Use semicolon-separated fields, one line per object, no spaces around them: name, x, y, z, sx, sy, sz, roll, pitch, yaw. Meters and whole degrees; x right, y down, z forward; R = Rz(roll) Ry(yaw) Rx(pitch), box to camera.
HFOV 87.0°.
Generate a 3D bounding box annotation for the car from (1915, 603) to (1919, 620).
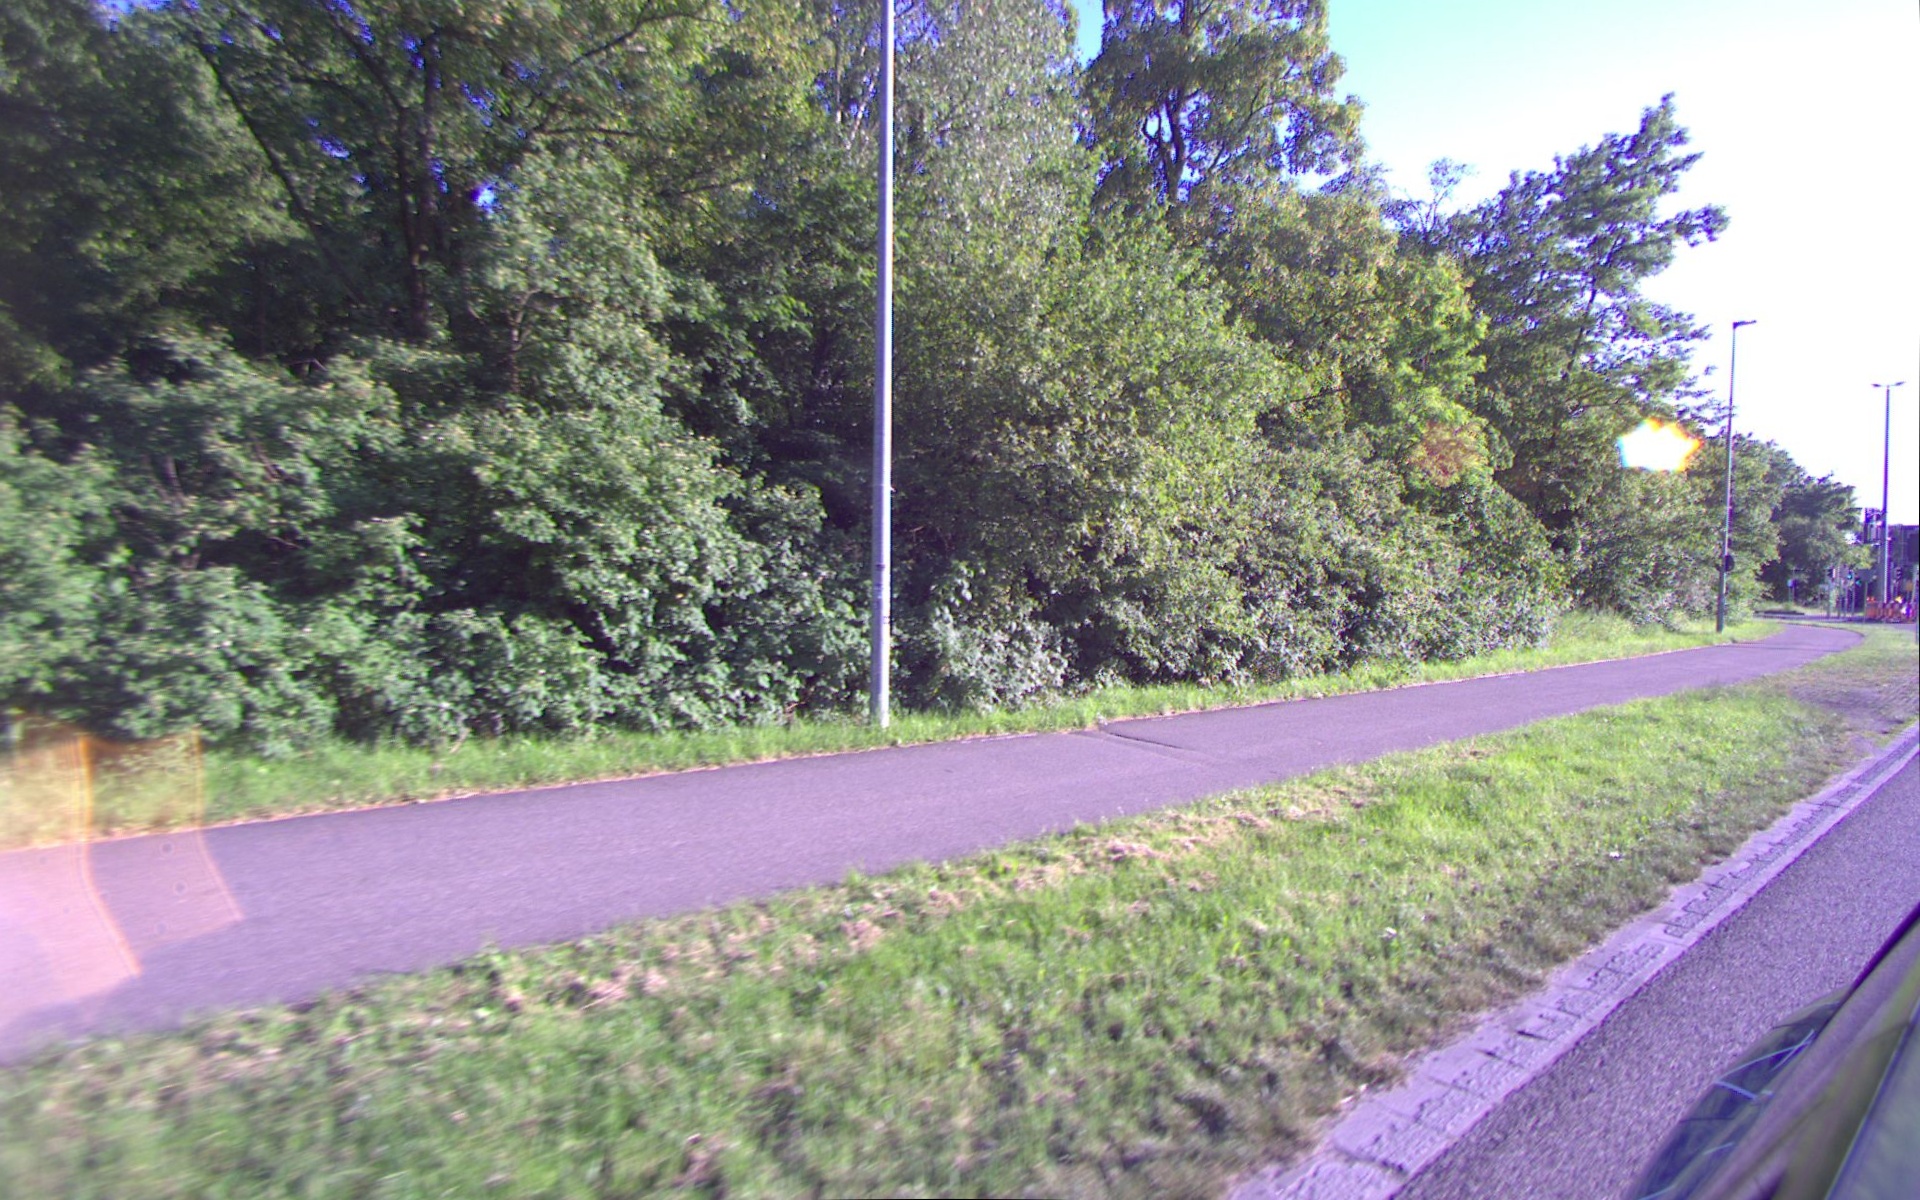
car;91.492;1.111;95.495;1.993;1.538;3.938;1;2;43
